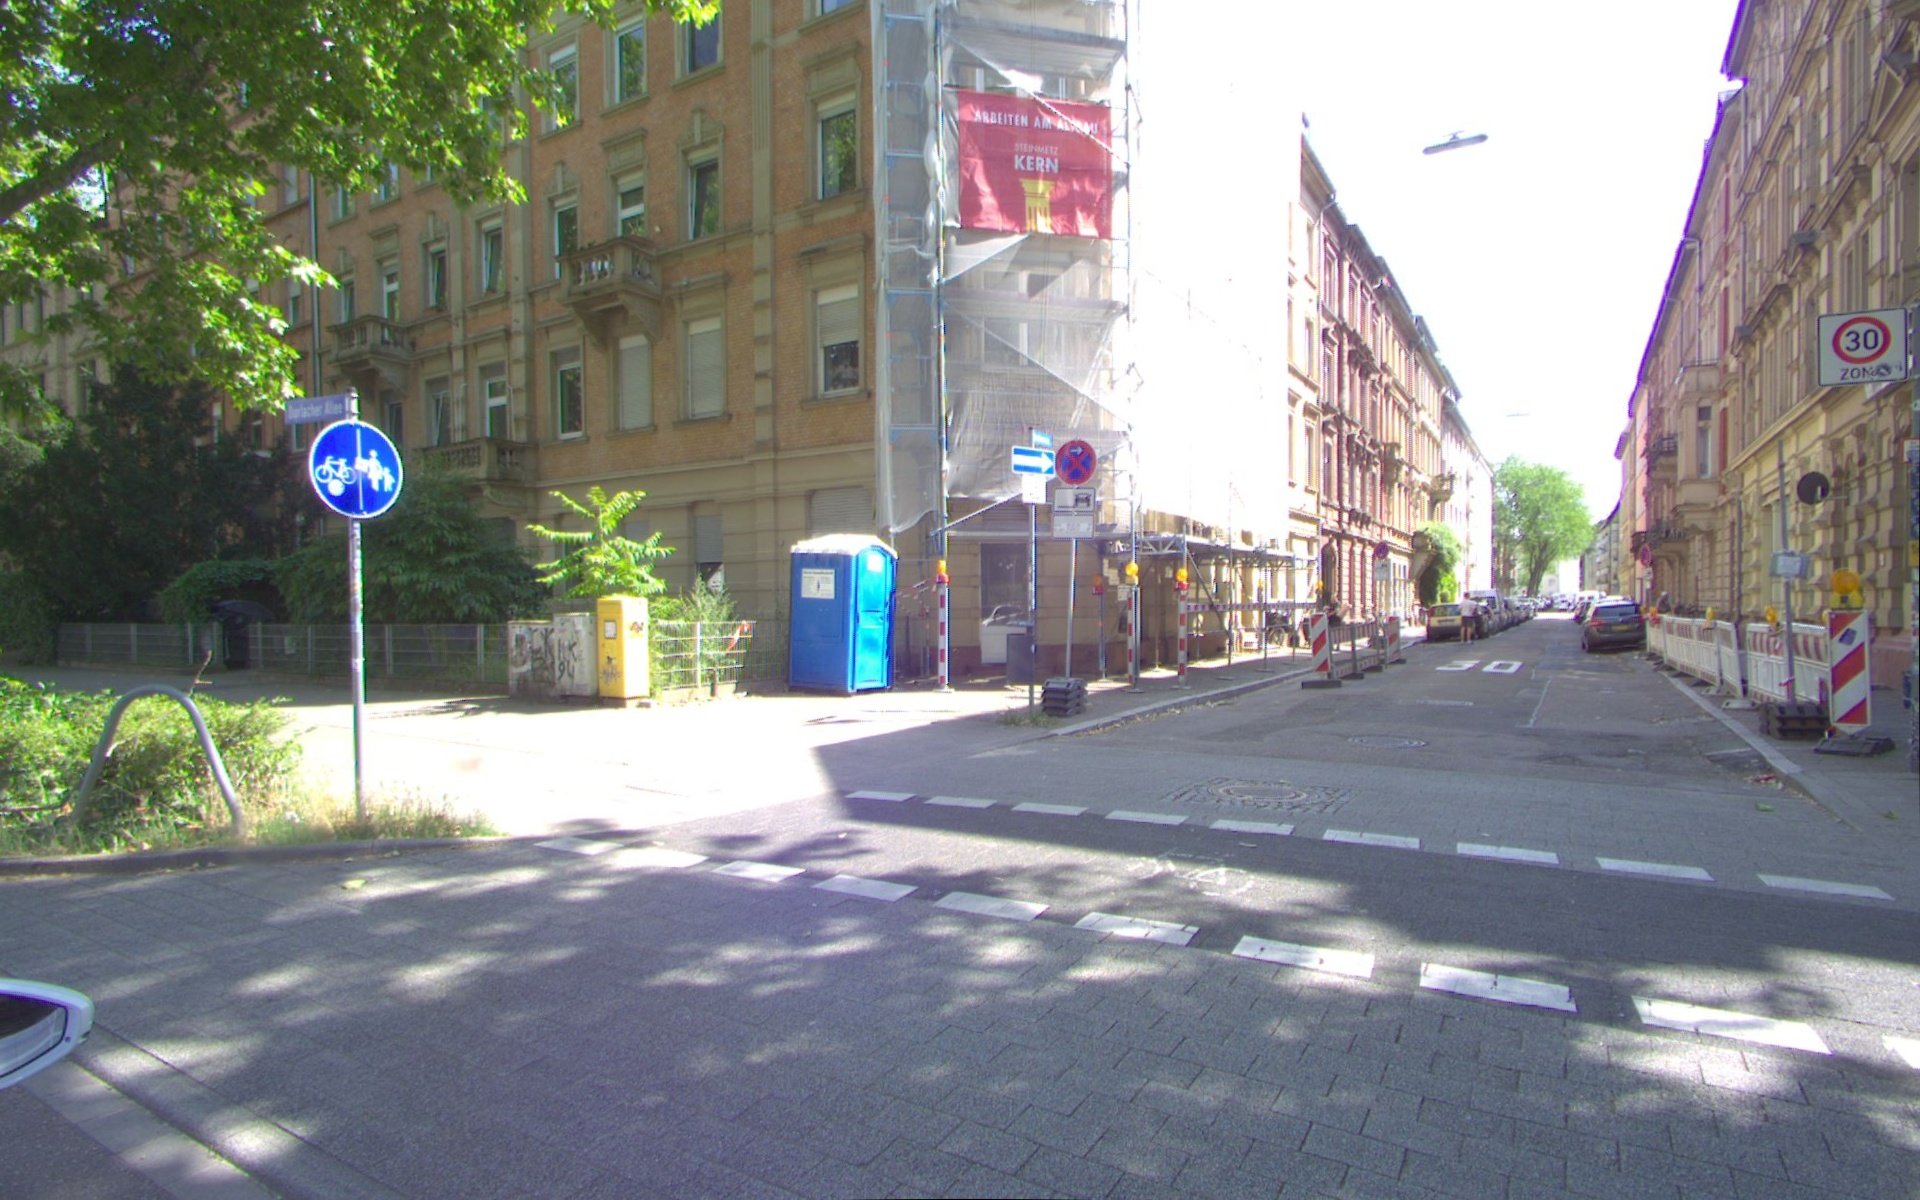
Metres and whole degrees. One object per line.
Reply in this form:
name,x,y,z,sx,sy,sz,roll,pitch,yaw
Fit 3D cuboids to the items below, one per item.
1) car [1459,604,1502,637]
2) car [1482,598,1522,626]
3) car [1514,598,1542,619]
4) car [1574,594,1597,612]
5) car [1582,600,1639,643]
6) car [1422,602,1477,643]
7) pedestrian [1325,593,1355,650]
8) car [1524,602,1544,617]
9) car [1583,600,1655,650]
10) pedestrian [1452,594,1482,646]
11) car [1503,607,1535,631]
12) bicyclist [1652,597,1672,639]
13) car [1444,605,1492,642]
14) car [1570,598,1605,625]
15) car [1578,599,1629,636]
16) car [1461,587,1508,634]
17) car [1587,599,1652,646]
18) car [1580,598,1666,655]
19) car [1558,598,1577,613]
car,25.752,1.001,49.498,1.702,1.549,3.478,0,0,30
car,34.392,0.745,63.501,1.886,1.732,4.139,0,0,33
car,48.064,0.716,84.651,1.886,1.732,4.140,0,0,32
car,63.355,0.273,101.441,1.971,1.762,3.979,0,0,31
car,28.471,0.904,43.937,1.971,1.762,3.979,0,0,31
car,19.460,0.868,39.771,1.702,1.549,3.478,0,0,30
pedestrian,11.817,0.673,31.174,0.843,1.748,0.834,0,0,19
car,58.265,0.951,101.674,1.646,1.420,3.343,0,0,32
car,23.025,0.826,35.107,1.971,1.661,3.979,0,0,31
pedestrian,18.156,0.702,35.860,0.922,1.822,1.034,0,1,29
car,42.322,1.449,75.798,1.886,1.732,4.139,0,0,33
bicyclist,25.040,0.649,35.708,0.525,1.472,0.459,0,1,29
car,22.576,1.006,44.444,1.702,1.549,3.478,0,0,30
car,43.007,0.777,68.736,1.971,1.762,3.979,0,0,31
car,31.747,0.849,49.484,1.971,1.762,3.979,0,0,31
car,28.232,0.540,53.877,1.886,2.405,4.224,0,0,33
car,25.694,0.836,39.144,1.971,1.762,3.979,0,0,31
car,19.696,0.751,29.885,1.971,1.572,3.979,0,0,31
car,73.144,0.672,120.579,1.971,1.762,3.979,0,0,31
